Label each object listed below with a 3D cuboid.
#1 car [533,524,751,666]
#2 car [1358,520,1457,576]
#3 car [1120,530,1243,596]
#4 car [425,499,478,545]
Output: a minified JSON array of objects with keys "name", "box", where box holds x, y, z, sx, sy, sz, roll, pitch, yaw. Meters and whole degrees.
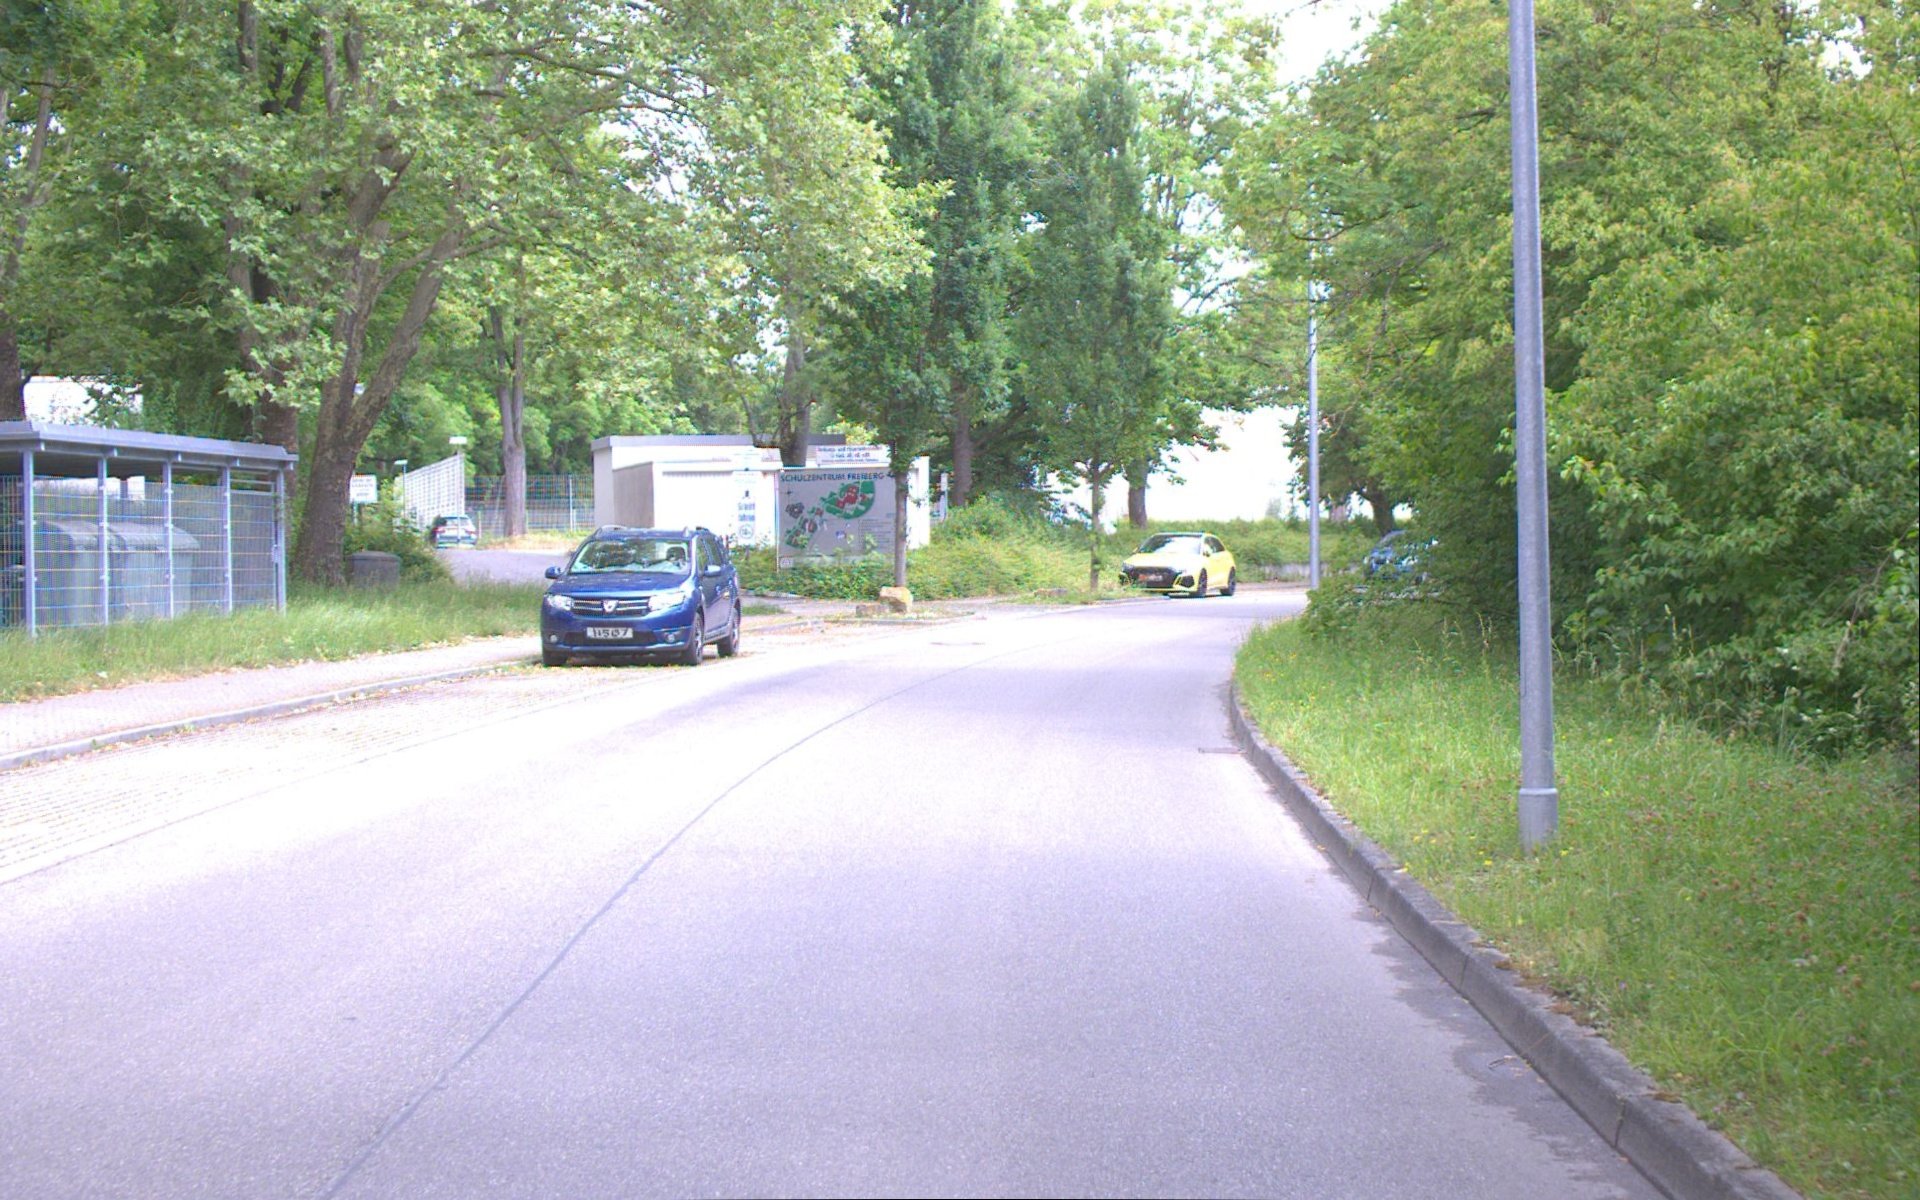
[{"name":"car","box":[-3.515,-0.096,38.758,1.680,1.506,4.431,0,1,5]},{"name":"car","box":[12.063,-1.417,92.575,1.535,1.454,3.715,0,1,26]},{"name":"car","box":[4.935,-0.827,76.051,1.701,1.398,4.269,1,1,18]},{"name":"car","box":[-20.016,-3.083,135.436,1.872,1.740,4.001,-1,1,-7]}]
